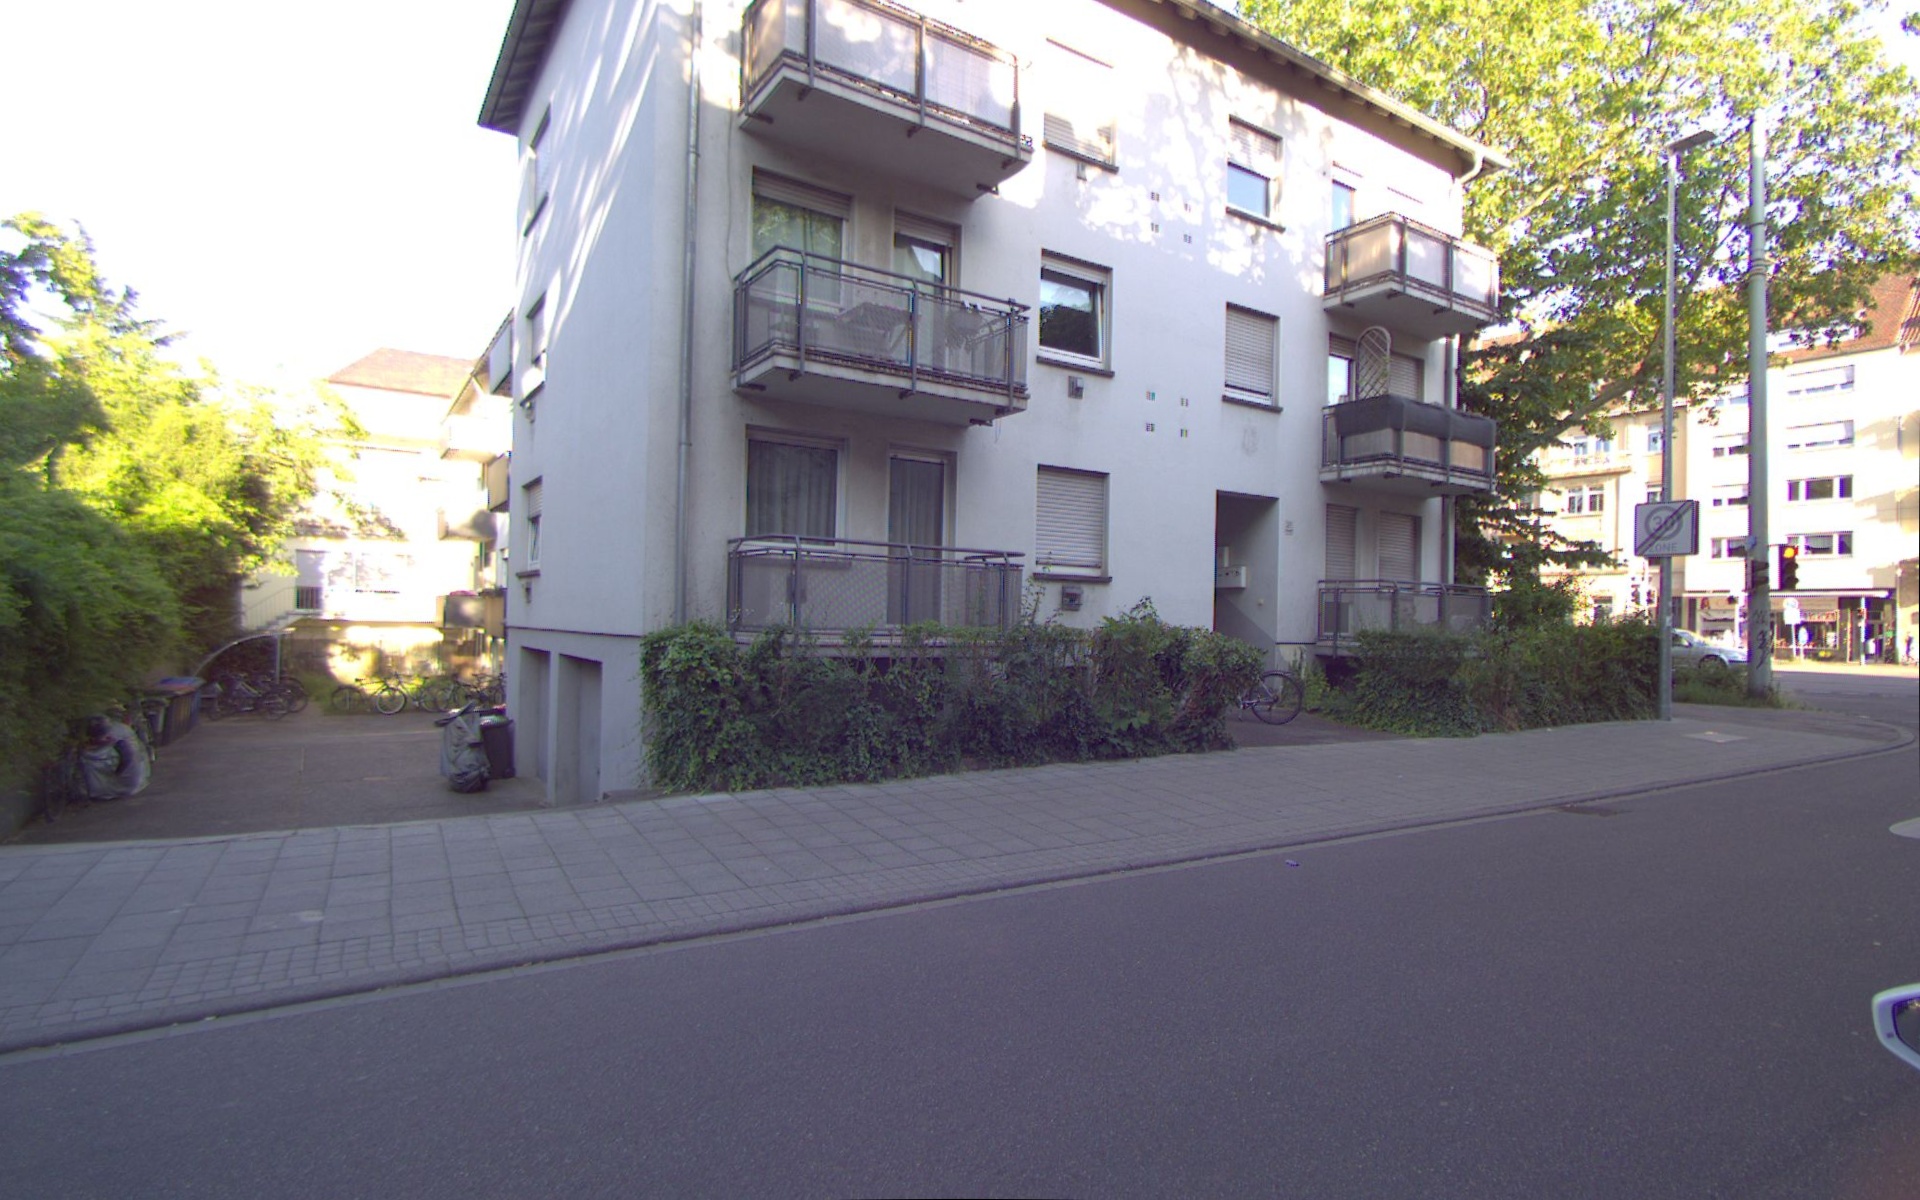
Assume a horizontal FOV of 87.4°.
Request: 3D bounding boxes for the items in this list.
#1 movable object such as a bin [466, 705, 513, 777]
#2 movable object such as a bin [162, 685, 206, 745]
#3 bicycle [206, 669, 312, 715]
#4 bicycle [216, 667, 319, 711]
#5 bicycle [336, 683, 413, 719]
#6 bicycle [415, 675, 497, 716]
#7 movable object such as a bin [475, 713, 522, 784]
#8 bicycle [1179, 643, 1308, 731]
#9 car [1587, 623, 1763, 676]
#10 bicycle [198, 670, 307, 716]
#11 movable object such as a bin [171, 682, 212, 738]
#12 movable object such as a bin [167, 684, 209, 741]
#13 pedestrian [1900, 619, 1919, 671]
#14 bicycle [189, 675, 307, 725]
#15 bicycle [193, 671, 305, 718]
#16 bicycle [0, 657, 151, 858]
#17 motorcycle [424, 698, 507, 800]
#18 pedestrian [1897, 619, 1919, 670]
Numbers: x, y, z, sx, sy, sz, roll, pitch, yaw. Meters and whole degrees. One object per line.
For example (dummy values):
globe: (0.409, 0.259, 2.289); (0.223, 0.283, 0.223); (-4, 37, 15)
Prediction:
movable object such as a bin: (-7.915, 2.354, 16.906); (0.606, 1.129, 0.795); (1, -3, -33)
movable object such as a bin: (-15.487, 2.273, 20.058); (0.606, 1.129, 0.795); (1, -3, -33)
bicycle: (-19.369, 2.525, 27.817); (2.311, 1.192, 0.689); (2, -4, -30)
bicycle: (-19.640, 2.508, 28.545); (2.311, 1.192, 0.689); (2, -4, -30)
bicycle: (-15.563, 2.676, 26.749); (1.734, 0.890, 0.561); (2, -4, -30)
bicycle: (-13.909, 2.622, 27.749); (1.982, 1.085, 0.561); (2, -4, -30)
movable object such as a bin: (-7.399, 2.361, 16.093); (0.606, 1.051, 0.534); (1, -3, -34)
bicycle: (3.830, 1.154, 13.573); (1.590, 1.022, 0.517); (3, 1, 20)
car: (22.789, 1.524, 32.172); (1.645, 1.516, 4.316); (1, -1, -36)
bicycle: (-19.023, 2.489, 27.091); (2.311, 1.192, 0.689); (2, -4, -30)
movable object such as a bin: (-16.360, 2.337, 21.390); (0.606, 1.129, 0.795); (1, -3, -33)
movable object such as a bin: (-15.928, 2.306, 20.728); (0.606, 1.129, 0.795); (1, -3, -33)
pedestrian: (46.665, 2.185, 48.714); (1.049, 2.497, 1.338); (1, 0, -34)
bicycle: (-17.334, 2.422, 24.530); (2.268, 1.148, 0.689); (2, -4, -30)
bicycle: (-18.597, 2.461, 26.345); (2.311, 1.148, 0.689); (2, -4, -30)
bicycle: (-10.601, 1.693, 11.983); (0.961, 1.917, 4.156); (1, -2, -32)
motorcycle: (-7.403, 2.185, 15.011); (0.739, 1.313, 1.563); (2, -2, -41)
pedestrian: (47.596, 2.229, 49.907); (1.049, 2.497, 1.338); (1, 0, -34)
